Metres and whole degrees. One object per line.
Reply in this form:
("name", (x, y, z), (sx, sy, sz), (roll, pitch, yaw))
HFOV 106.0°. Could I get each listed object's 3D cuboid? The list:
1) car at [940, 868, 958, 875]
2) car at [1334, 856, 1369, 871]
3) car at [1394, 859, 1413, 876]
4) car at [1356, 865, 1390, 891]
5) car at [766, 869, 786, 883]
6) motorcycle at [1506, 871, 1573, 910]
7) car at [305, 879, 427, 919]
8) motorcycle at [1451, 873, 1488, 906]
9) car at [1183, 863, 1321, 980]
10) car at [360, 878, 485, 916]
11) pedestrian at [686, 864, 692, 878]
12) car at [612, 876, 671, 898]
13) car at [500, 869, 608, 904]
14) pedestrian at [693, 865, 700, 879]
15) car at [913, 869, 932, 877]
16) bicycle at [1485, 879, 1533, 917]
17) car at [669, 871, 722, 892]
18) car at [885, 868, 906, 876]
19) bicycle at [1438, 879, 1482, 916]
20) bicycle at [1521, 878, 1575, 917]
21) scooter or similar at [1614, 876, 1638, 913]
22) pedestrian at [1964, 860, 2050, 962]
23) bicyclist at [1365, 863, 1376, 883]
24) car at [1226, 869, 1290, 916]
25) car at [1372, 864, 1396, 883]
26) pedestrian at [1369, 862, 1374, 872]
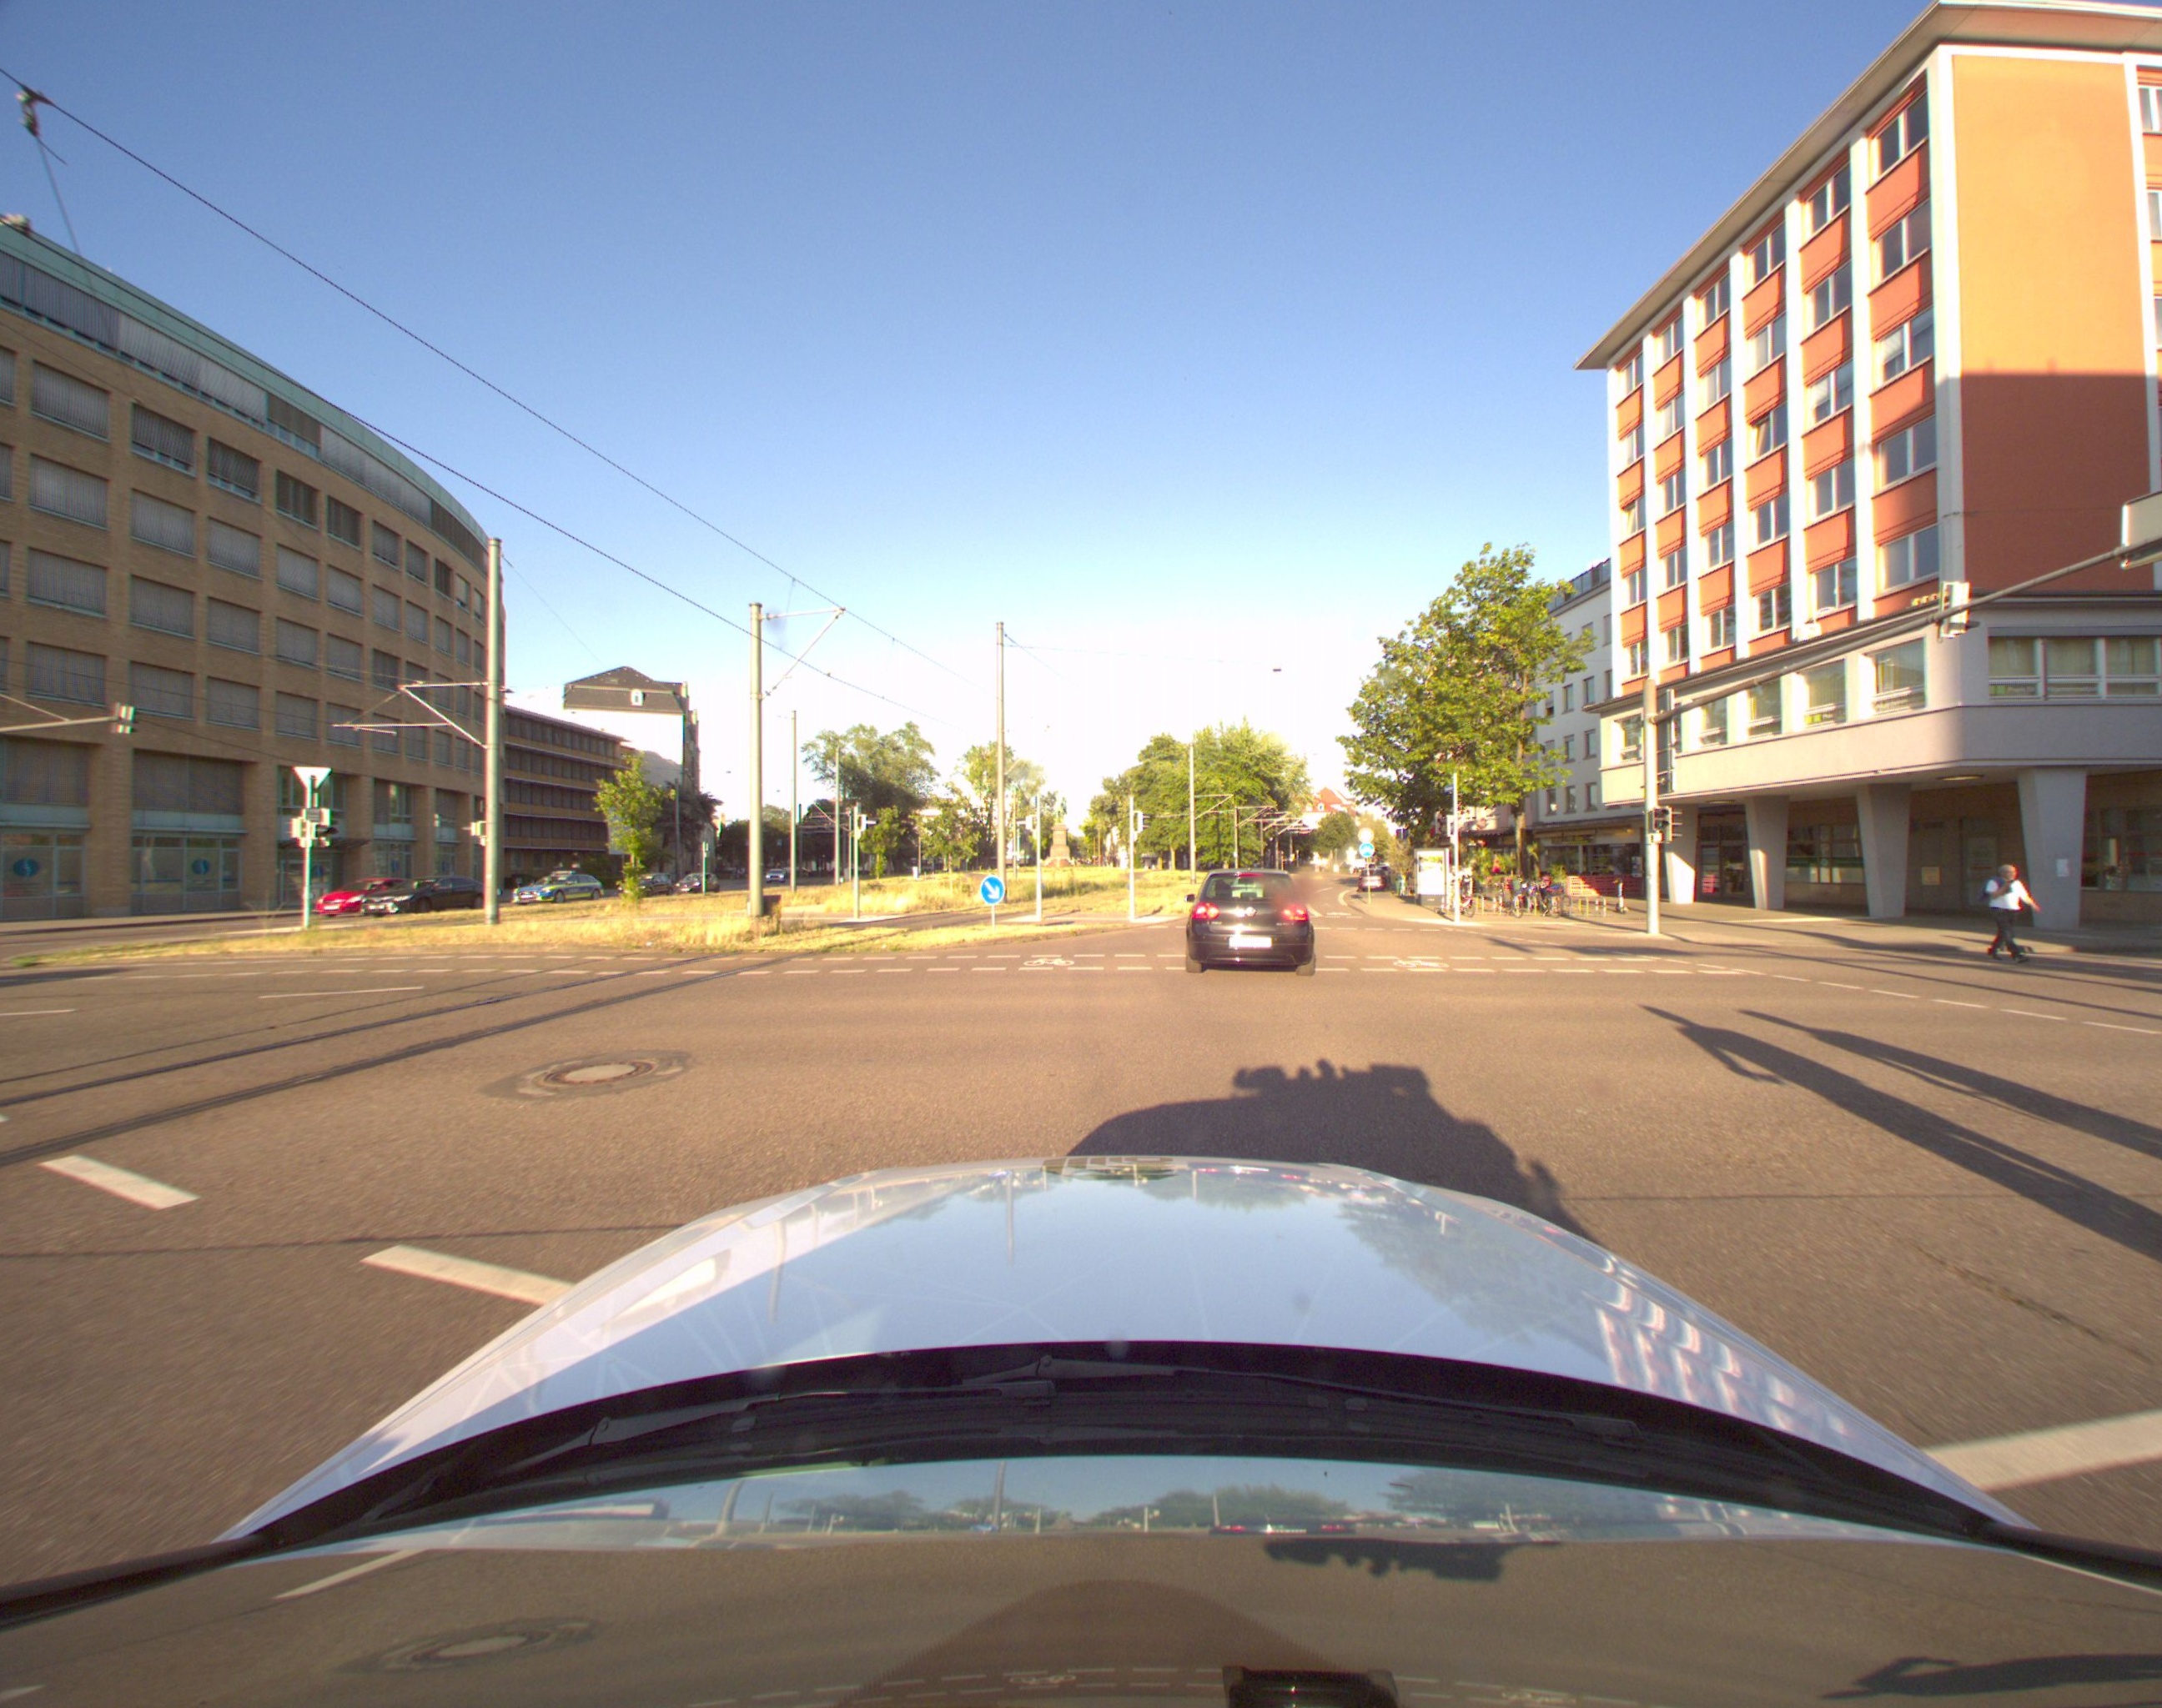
("car", (-26.048, 3.470, 161.067), (3.331, 1.507, 1.656), (0, -1, -4))
("car", (47.545, 1.635, 143.106), (5.498, 2.595, 2.152), (0, -1, -3))
("car", (35.446, 1.445, 89.454), (1.851, 1.714, 4.528), (-3, -2, 22))
("car", (18.271, 1.489, 50.801), (1.713, 1.472, 3.920), (-3, -2, 23))
("car", (-34.968, 2.531, 93.386), (1.773, 1.482, 4.287), (0, 0, -15))
("motorcycle", (16.984, 1.338, 30.208), (2.032, 1.406, 0.762), (0, -1, 7))
("car", (-28.671, 1.773, 32.830), (1.721, 1.415, 3.879), (0, 0, -5))
("motorcycle", (15.414, 1.375, 32.376), (0.662, 1.242, 2.205), (0, -1, 7))
("car", (2.619, 0.877, 12.483), (1.736, 1.461, 4.117), (0, -1, 12))
("car", (-25.122, 1.591, 31.245), (1.719, 1.282, 3.788), (0, -1, 0))
("pedestrian", (-40.391, 1.799, 83.914), (0.412, 1.430, 0.485), (-1, -1, 0))
("car", (-25.302, 1.866, 46.970), (1.516, 1.153, 3.596), (0, 0, -2))
("car", (-25.112, 1.518, 39.065), (1.881, 1.480, 4.785), (-1, -1, 3))
("pedestrian", (-39.640, 1.810, 83.935), (0.412, 1.430, 0.485), (-1, -1, 0))
("car", (-31.287, 3.744, 160.846), (3.331, 1.361, 1.518), (0, -1, -4))
("bicycle", (14.271, 1.448, 27.212), (0.642, 1.127, 1.875), (-1, 0, 2))
("car", (-25.348, 1.797, 53.692), (1.640, 1.281, 3.739), (-1, 0, 0))
("car", (-34.806, 3.411, 152.970), (3.494, 1.449, 1.518), (0, -1, -4))
("bicycle", (12.621, 1.423, 27.161), (0.642, 1.127, 1.875), (-1, 0, 2))
("bicycle", (15.581, 1.433, 27.208), (0.642, 1.158, 2.125), (-1, 0, 2))
("scooter or similar", (19.272, 1.411, 28.812), (0.412, 1.254, 1.188), (-1, -1, 20))
("pedestrian", (16.084, 0.965, 14.165), (0.566, 1.701, 0.812), (0, -1, 1))
("bicyclist", (23.535, 1.541, 66.212), (0.770, 1.618, 1.031), (0, -1, 23))
("car", (6.123, 1.249, 27.823), (1.851, 1.441, 4.215), (-1, -1, 16))
("car", (27.754, 1.752, 74.543), (1.766, 1.557, 4.258), (-3, -2, 24))
("pedestrian", (44.227, 1.968, 123.854), (0.730, 1.555, 0.635), (0, -1, 20))
